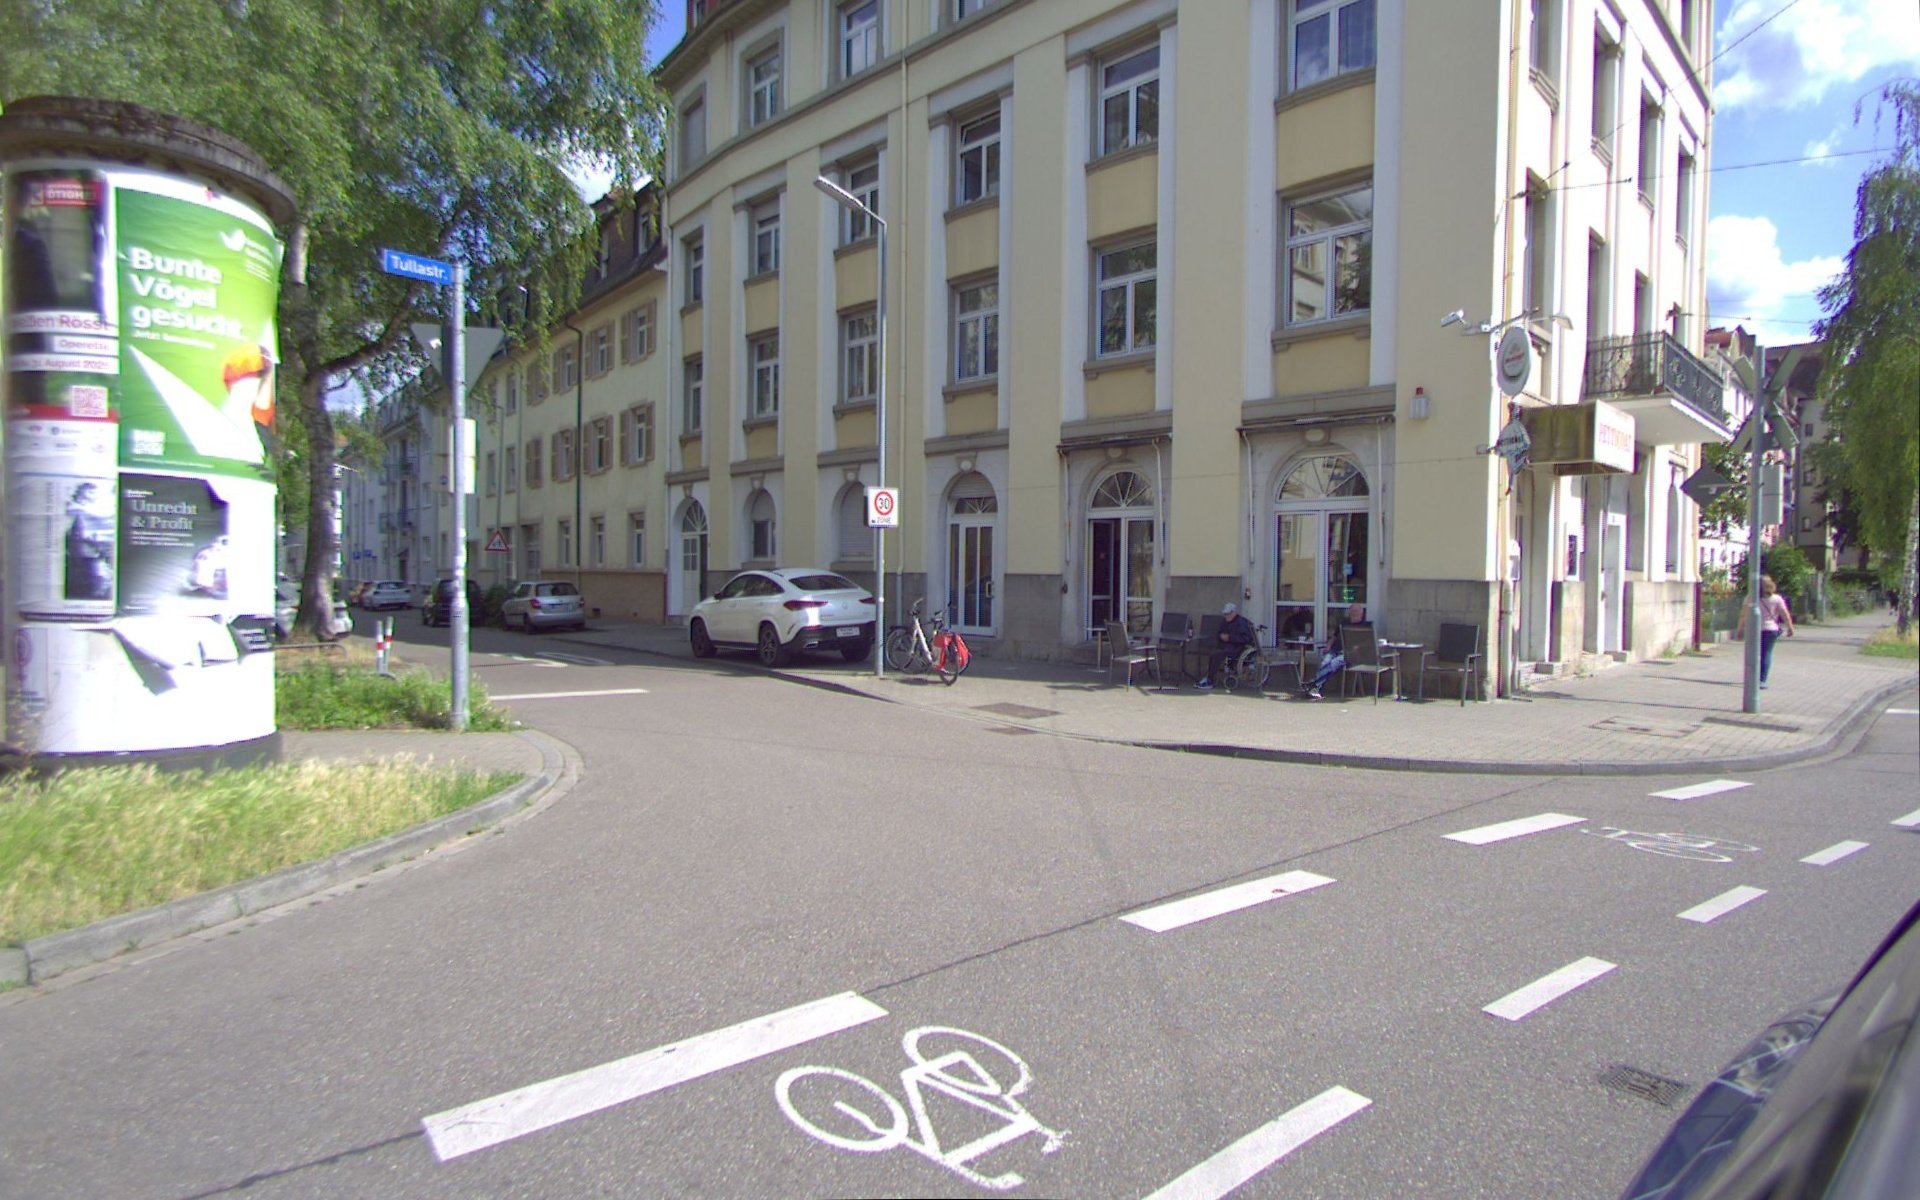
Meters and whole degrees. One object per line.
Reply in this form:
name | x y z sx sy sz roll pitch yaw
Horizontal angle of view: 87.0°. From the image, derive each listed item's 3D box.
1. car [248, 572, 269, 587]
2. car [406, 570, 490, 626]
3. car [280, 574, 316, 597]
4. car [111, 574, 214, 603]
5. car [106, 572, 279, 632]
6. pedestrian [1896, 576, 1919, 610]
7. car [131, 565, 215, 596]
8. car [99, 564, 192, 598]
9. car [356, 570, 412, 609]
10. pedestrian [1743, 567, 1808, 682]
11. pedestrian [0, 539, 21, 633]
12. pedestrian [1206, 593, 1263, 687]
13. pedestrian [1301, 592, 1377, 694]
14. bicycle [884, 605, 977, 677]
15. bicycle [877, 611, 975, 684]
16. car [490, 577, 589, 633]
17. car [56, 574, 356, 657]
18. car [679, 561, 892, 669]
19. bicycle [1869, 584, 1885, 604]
car | -69.798 -2.065 100.634 1.466 1.485 3.294 0 2 -39
car | -16.910 -0.085 33.346 1.705 1.760 3.645 1 0 -39
car | -45.063 -1.027 68.901 1.706 1.485 3.646 -1 2 -39
car | -39.700 -0.589 50.476 3.663 1.415 1.714 0 1 -9
car | -19.701 0.037 26.102 3.200 1.474 1.596 0 1 -8
pedestrian | 48.489 -0.363 51.779 0.679 1.703 0.731 0 3 -40
car | -44.149 -1.081 56.820 3.437 1.685 1.415 0 1 -15
car | -35.289 -0.806 43.914 2.936 1.434 1.233 0 1 -27
car | -27.166 -0.515 47.702 1.706 1.760 3.646 0 2 -39
pedestrian | 12.384 0.358 15.380 0.671 1.668 0.752 4 1 39
pedestrian | -21.041 -0.316 22.298 0.493 2.039 0.627 0 1 -41
pedestrian | 3.968 0.559 14.629 0.534 1.284 0.651 3 2 43
pedestrian | 5.242 0.559 13.970 0.534 1.284 1.284 0 2 43
bicycle | -0.494 0.630 16.262 0.575 0.979 1.650 -3 5 -42
bicycle | -0.537 0.698 15.508 0.574 0.980 1.650 -2 3 -42
car | -12.419 0.105 29.792 1.595 1.477 3.590 -3 3 -41
car | -14.601 0.274 19.849 4.448 1.504 1.625 0 1 -12
car | -3.409 0.176 19.000 1.878 1.754 4.769 0 2 -39
bicycle | 50.226 -0.327 55.425 2.146 1.090 0.472 -1 2 -43
